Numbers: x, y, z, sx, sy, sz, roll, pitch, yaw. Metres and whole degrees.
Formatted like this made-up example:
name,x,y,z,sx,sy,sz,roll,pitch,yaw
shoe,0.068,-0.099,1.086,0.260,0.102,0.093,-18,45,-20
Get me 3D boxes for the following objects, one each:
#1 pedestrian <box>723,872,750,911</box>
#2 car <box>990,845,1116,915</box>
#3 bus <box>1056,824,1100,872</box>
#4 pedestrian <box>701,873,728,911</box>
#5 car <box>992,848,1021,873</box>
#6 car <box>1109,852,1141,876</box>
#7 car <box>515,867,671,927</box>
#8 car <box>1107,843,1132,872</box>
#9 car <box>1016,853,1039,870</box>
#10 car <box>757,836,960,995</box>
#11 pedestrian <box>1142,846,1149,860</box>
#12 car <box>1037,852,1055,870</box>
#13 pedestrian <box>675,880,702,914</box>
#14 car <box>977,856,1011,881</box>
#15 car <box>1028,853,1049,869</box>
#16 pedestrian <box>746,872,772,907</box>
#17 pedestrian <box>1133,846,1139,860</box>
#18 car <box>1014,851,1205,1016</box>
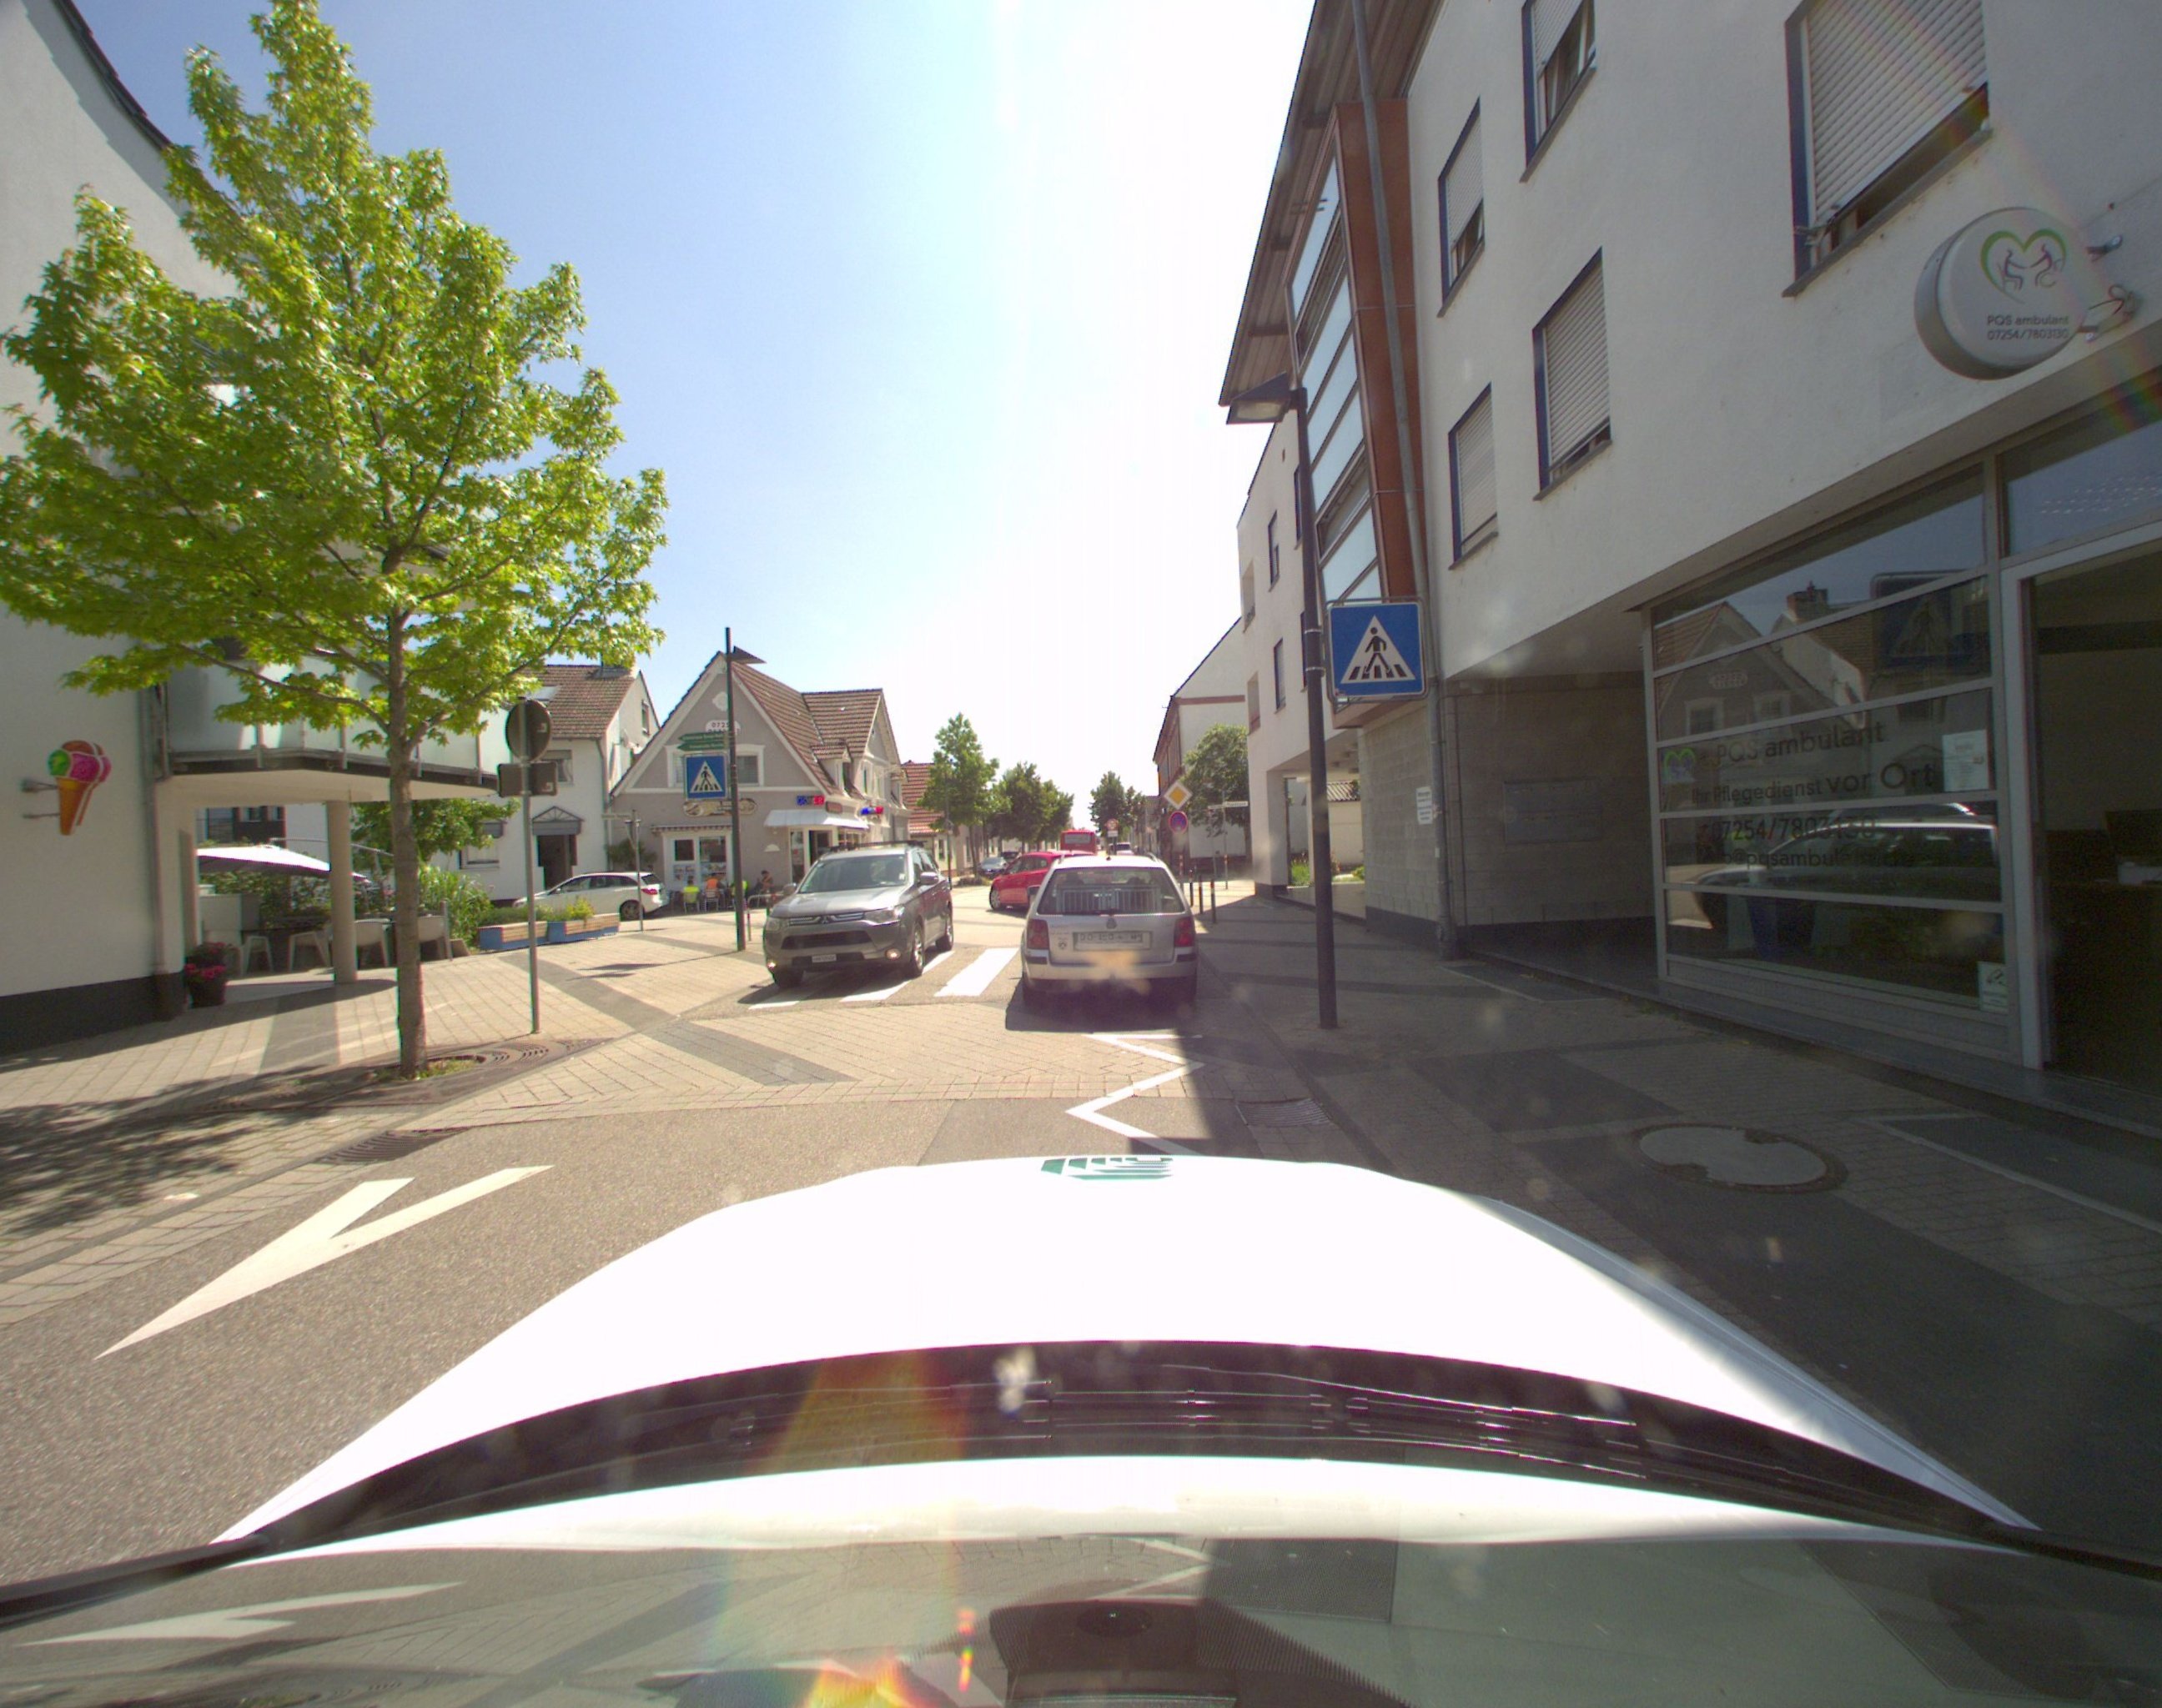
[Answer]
name,x,y,z,sx,sy,sz,roll,pitch,yaw
pedestrian,-11.883,1.279,28.065,0.639,1.289,0.780,0,-1,-42
car,-0.770,0.587,19.438,1.685,1.430,3.649,-2,0,-25
bus,-0.052,-0.421,63.174,2.729,3.298,12.712,-2,0,2
pedestrian,-12.794,1.309,28.434,0.639,1.289,0.780,0,-1,-42
car,-5.843,0.519,64.436,1.758,1.837,3.790,-3,0,1
car,2.555,0.574,48.007,1.713,1.309,3.626,-3,0,1
car,-15.484,1.340,26.039,3.923,1.545,1.510,-3,2,-16
car,2.971,0.238,63.304,1.781,2.082,3.626,-3,0,1
car,-5.144,0.733,79.149,1.805,1.559,4.001,-3,0,1
car,-2.823,0.692,11.329,1.670,1.716,4.229,-3,0,-1
pedestrian,7.661,-0.156,96.640,0.604,1.667,0.789,-3,0,0
car,-4.229,0.791,98.319,1.805,1.995,4.001,-3,0,1
pedestrian,-13.336,1.441,27.654,0.639,1.116,0.780,0,0,-42
car,-5.580,0.909,52.480,1.599,1.438,4.066,-3,0,1
car,-4.453,0.736,85.876,1.805,1.559,4.001,-3,0,1
pedestrian,-11.581,1.275,29.292,0.620,1.179,0.696,-3,0,-3
pedestrian,6.574,-0.145,97.286,0.604,1.667,0.789,-3,0,0
car,0.298,0.694,8.994,1.671,1.430,3.681,0,0,1
